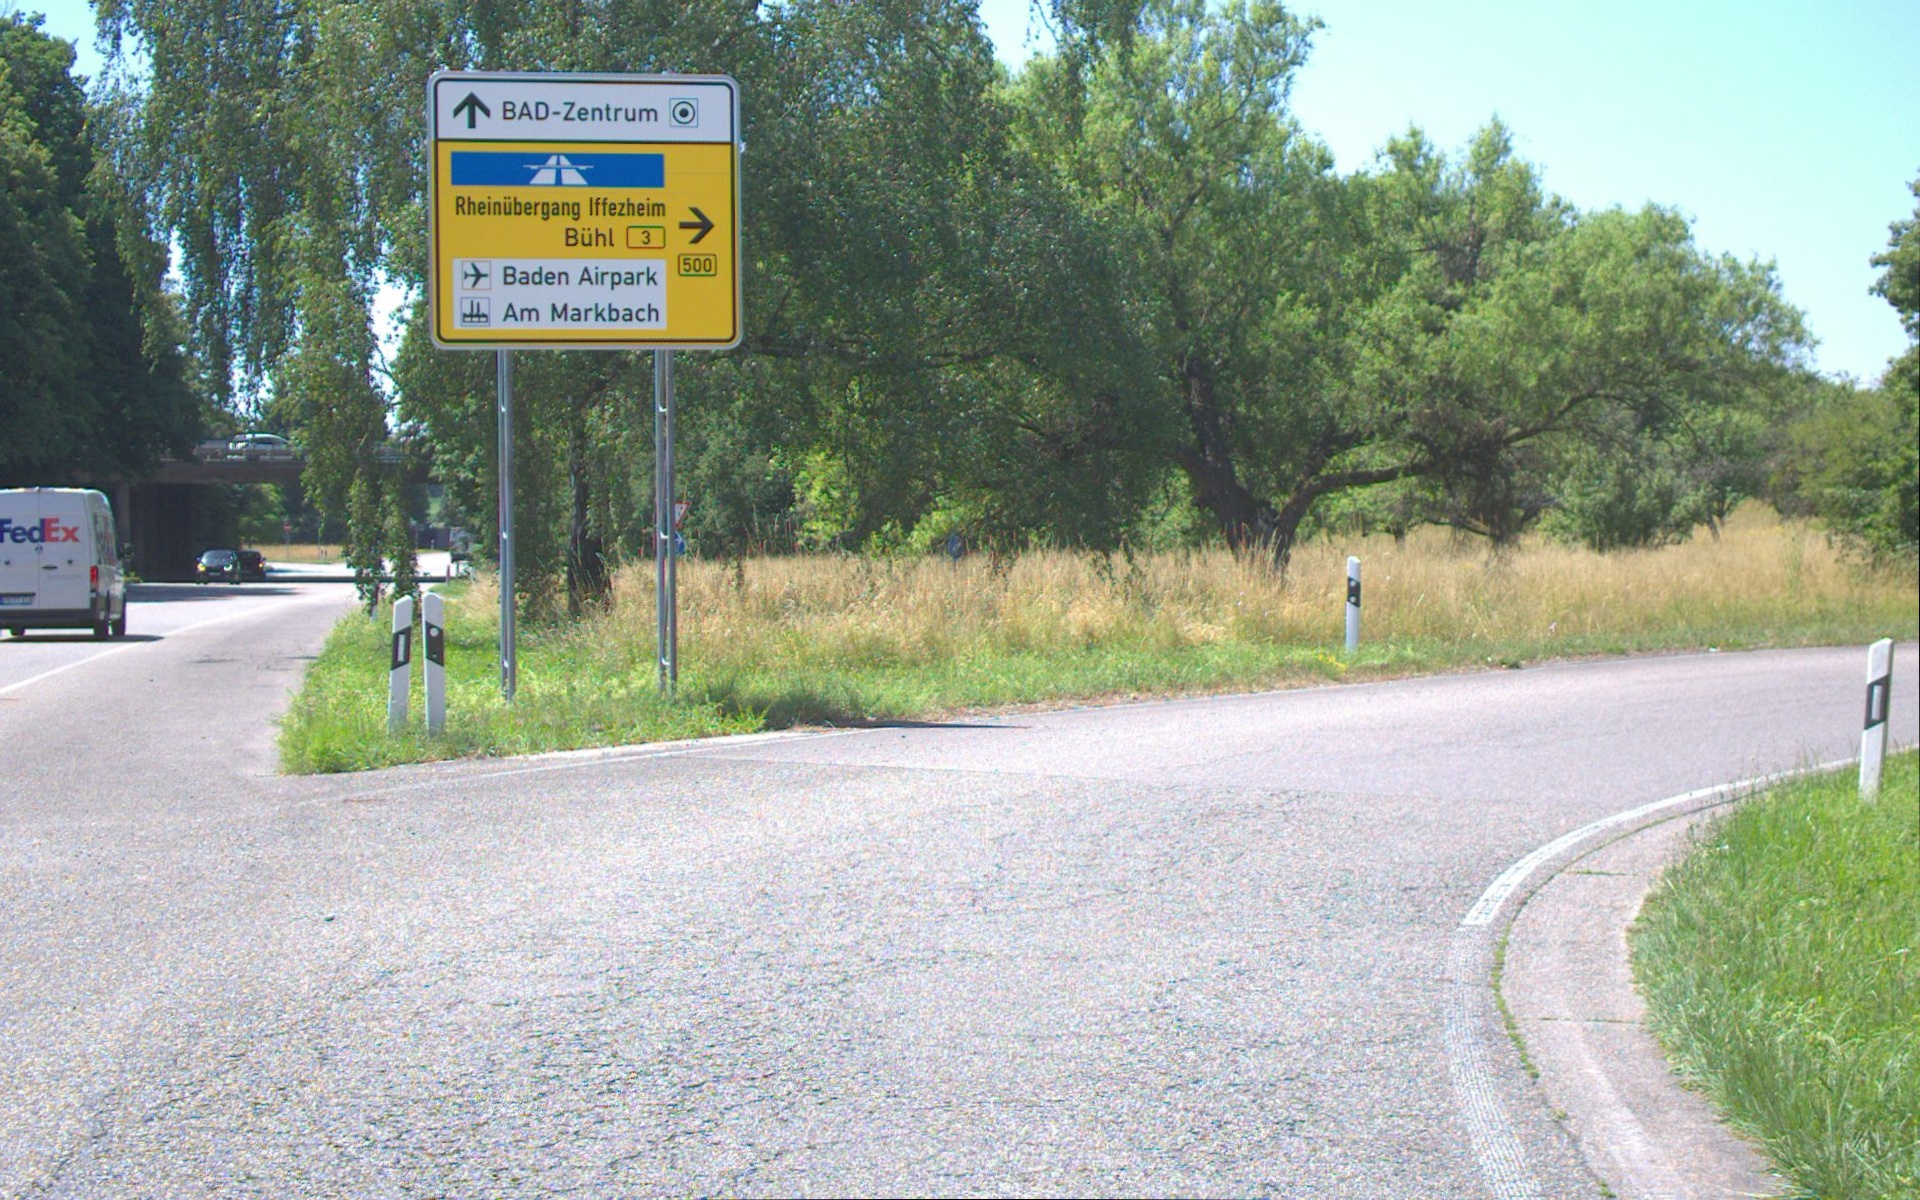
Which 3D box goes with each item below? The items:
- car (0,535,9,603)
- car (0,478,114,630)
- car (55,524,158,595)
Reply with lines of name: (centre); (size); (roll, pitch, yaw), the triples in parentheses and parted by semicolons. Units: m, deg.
car: (-24.007, -0.748, 82.044); (2.116, 1.629, 4.091); (1, 1, -10)
car: (-15.618, -0.805, 58.692); (2.116, 2.492, 4.091); (1, 1, -12)
car: (-20.613, -1.001, 83.170); (2.116, 1.629, 4.091); (1, 1, -10)
